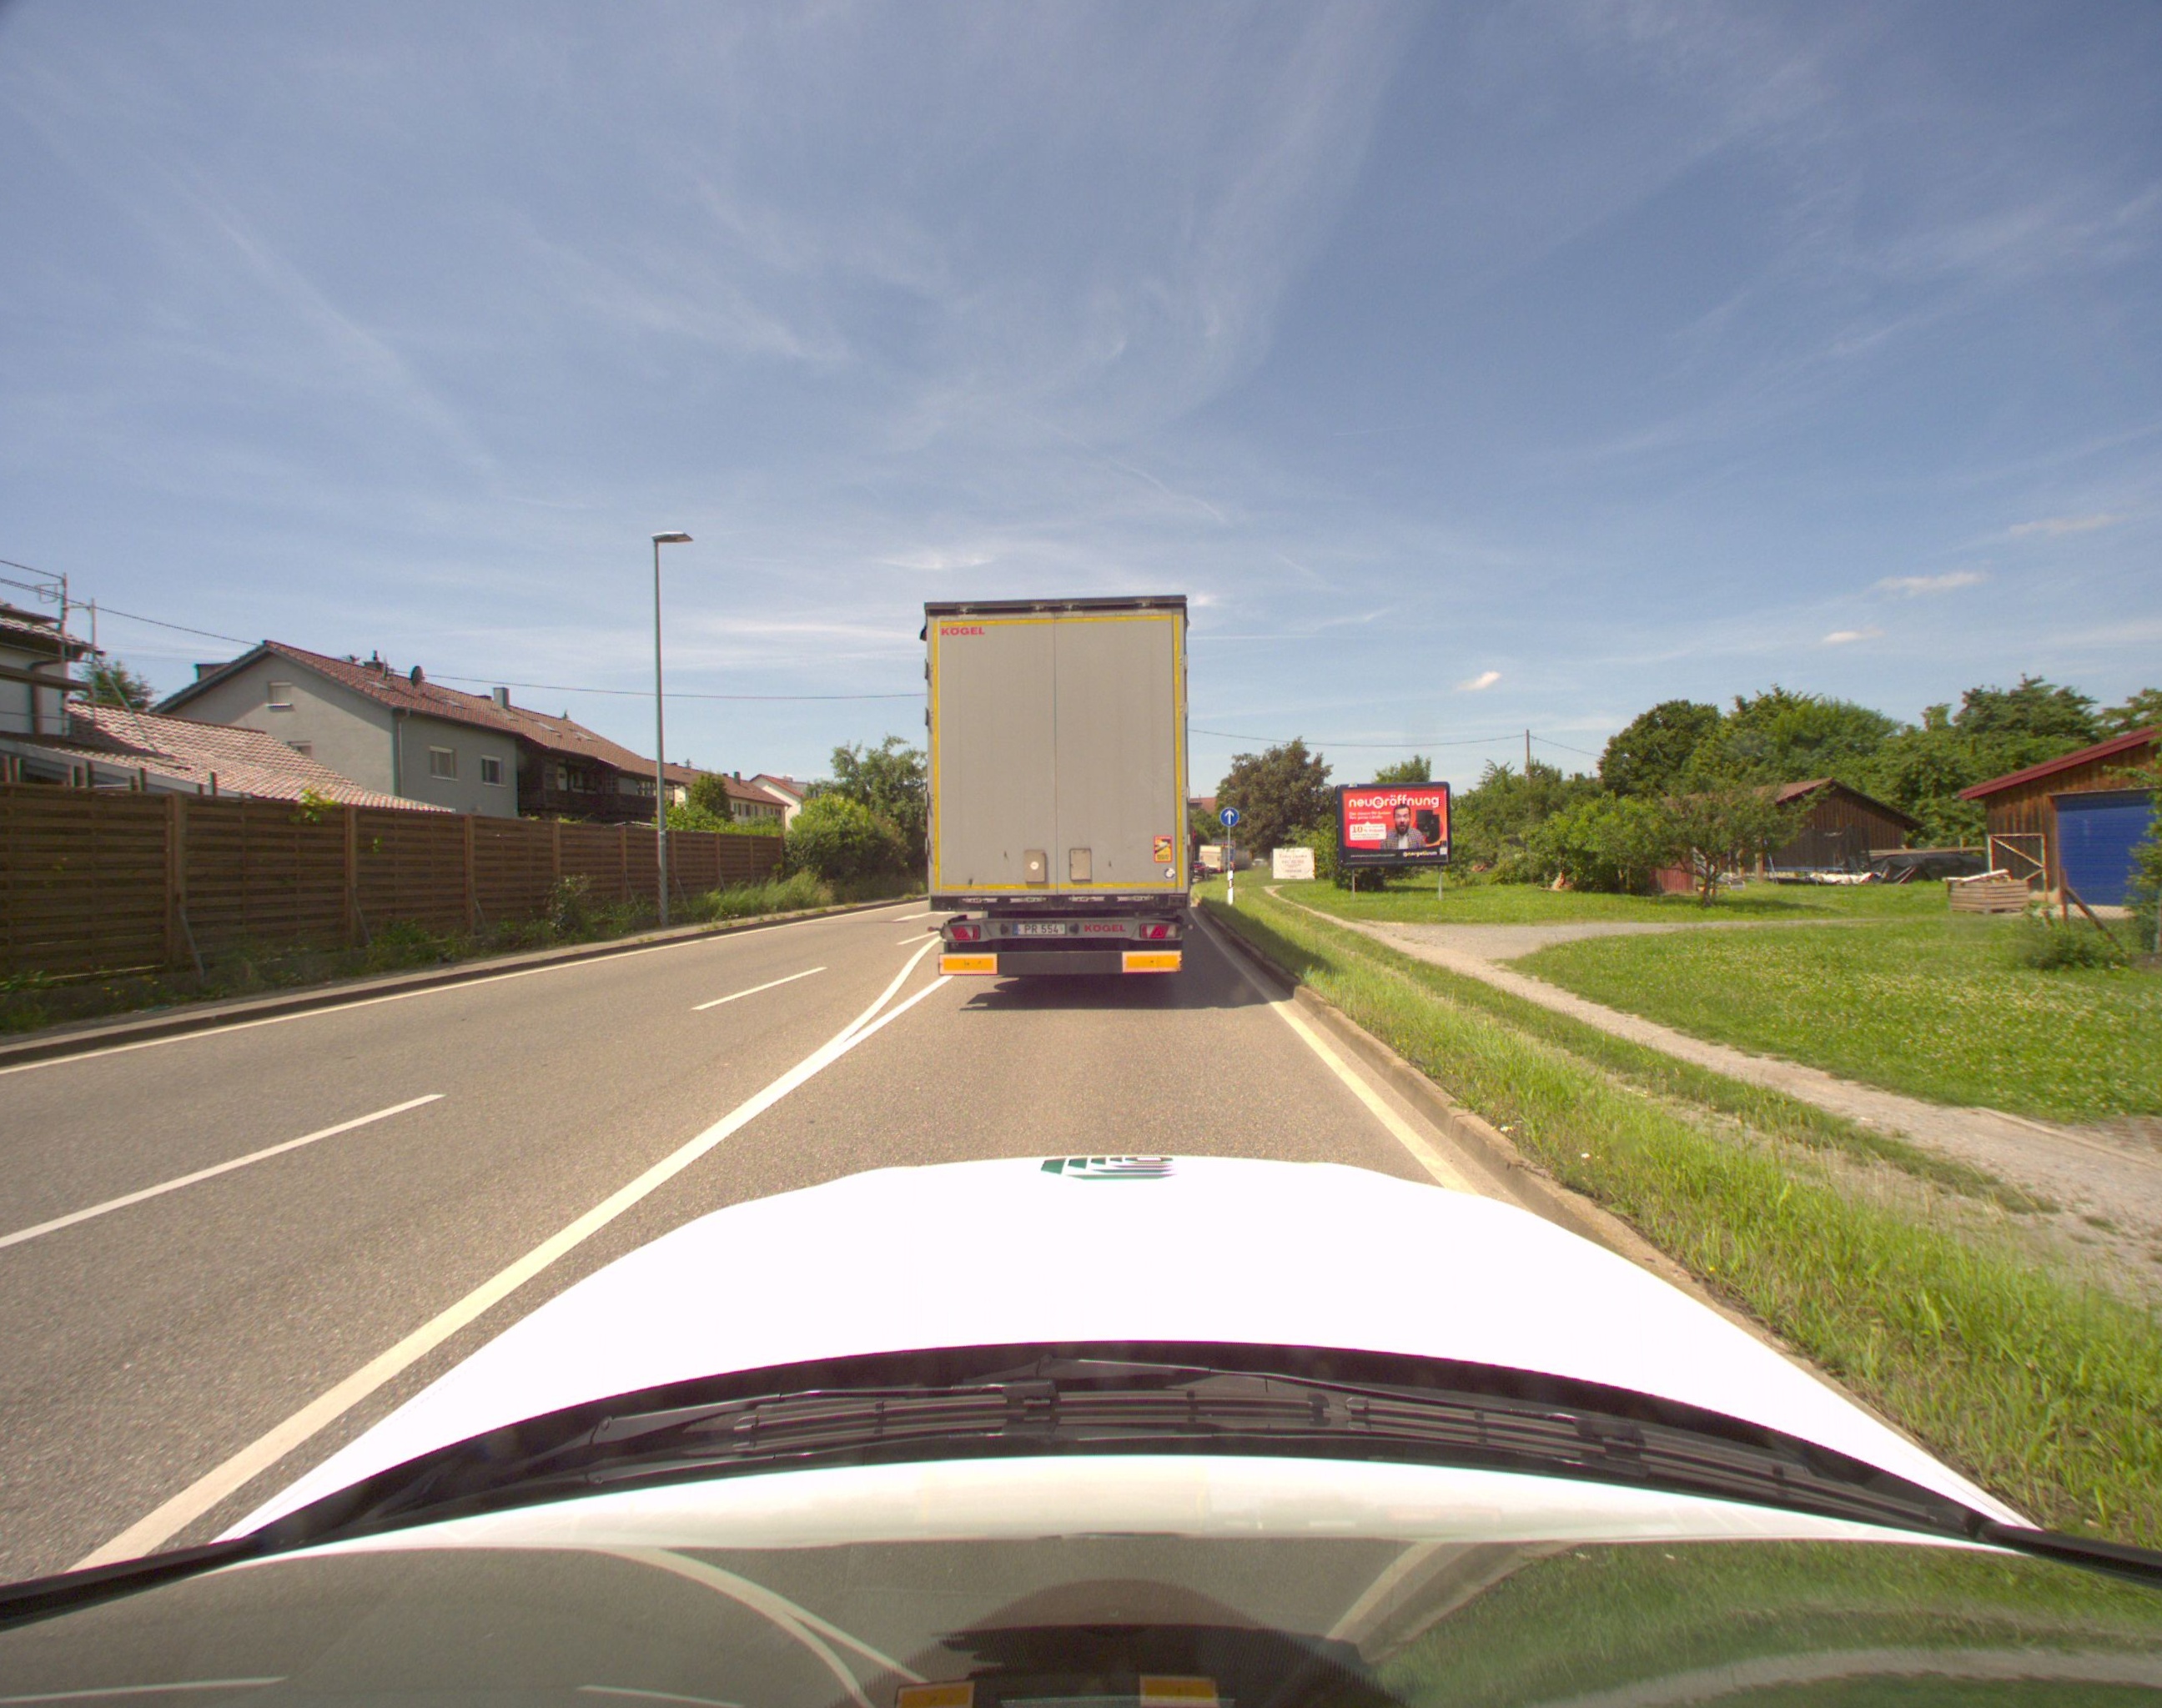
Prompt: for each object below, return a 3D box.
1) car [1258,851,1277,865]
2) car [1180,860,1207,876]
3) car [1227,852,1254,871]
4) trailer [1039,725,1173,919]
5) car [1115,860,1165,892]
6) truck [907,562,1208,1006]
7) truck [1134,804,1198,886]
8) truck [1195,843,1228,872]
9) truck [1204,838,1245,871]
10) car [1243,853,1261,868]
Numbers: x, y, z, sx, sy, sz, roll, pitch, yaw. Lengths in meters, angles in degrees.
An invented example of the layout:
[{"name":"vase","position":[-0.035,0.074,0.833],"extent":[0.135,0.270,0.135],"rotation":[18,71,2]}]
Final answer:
[{"name":"car","position":[27.150,0.551,118.629],"extent":[1.976,2.014,4.021],"rotation":[-1,-1,22]},{"name":"car","position":[10.119,1.222,73.023],"extent":[1.979,1.376,4.015],"rotation":[0,-1,14]},{"name":"car","position":[19.883,0.938,101.410],"extent":[2.512,2.277,6.410],"rotation":[0,0,18]},{"name":"trailer","position":[0.772,-0.686,20.739],"extent":[2.812,4.111,6.551],"rotation":[-1,0,4]},{"name":"car","position":[2.622,0.932,35.388],"extent":[1.808,1.346,3.857],"rotation":[0,-1,9]},{"name":"truck","position":[0.199,-0.659,13.355],"extent":[2.809,4.127,11.457],"rotation":[0,0,4]},{"name":"truck","position":[5.620,-0.356,51.162],"extent":[2.743,4.289,16.460],"rotation":[0,-1,10]},{"name":"truck","position":[13.171,0.385,82.124],"extent":[2.524,2.803,6.057],"rotation":[0,-1,16]},{"name":"truck","position":[16.432,0.016,92.775],"extent":[3.406,3.604,9.396],"rotation":[0,0,17]},{"name":"car","position":[23.200,0.915,110.406],"extent":[1.978,2.014,4.018],"rotation":[-1,-1,18]}]
